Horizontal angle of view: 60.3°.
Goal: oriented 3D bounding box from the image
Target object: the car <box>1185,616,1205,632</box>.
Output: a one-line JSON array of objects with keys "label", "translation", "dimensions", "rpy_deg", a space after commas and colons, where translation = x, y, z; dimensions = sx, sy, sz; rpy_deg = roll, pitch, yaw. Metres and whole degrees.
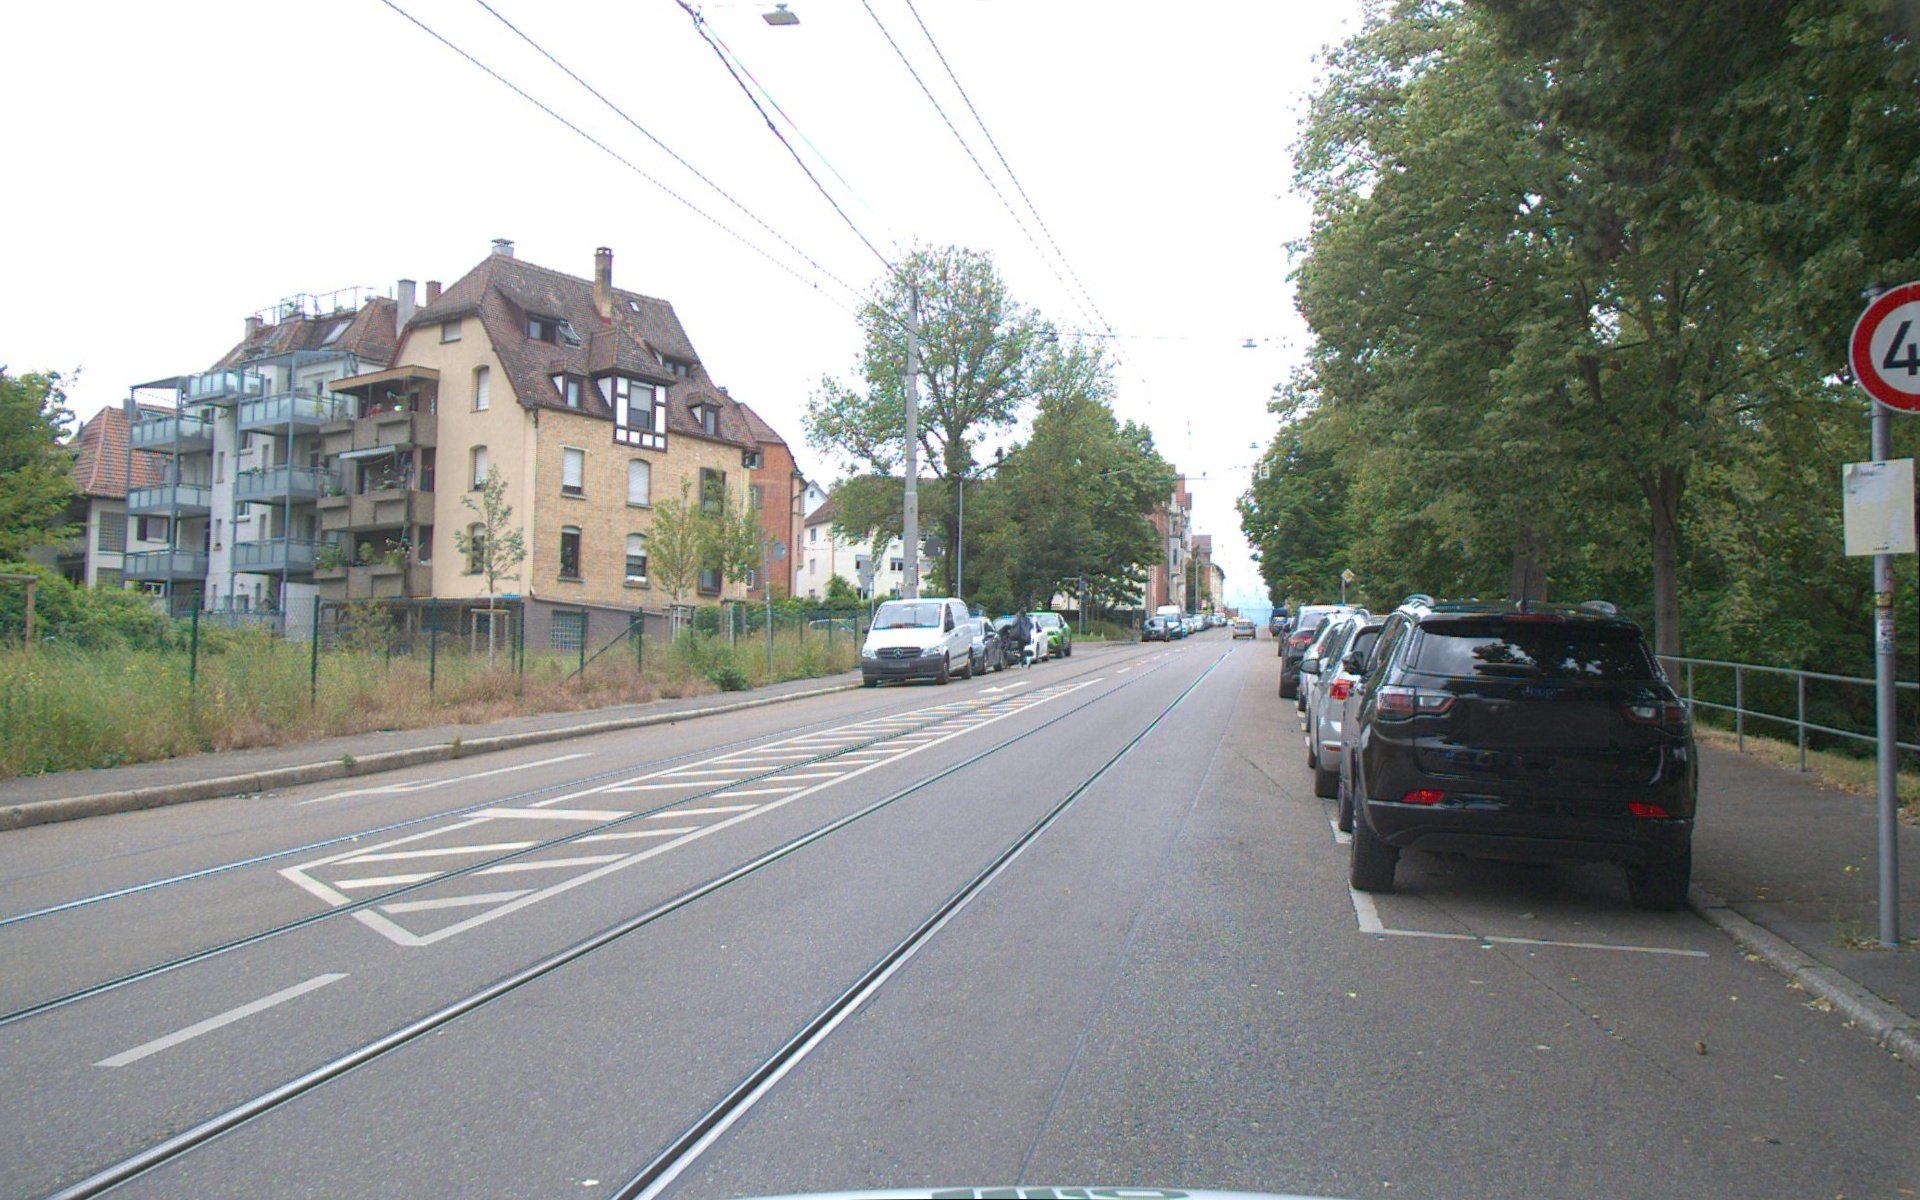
[{"label": "car", "translation": [24.757, 2.492, 173.875], "dimensions": [1.883, 1.629, 4.003], "rpy_deg": [1, -1, 11]}]

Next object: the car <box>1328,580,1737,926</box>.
[{"label": "car", "translation": [3.332, 0.767, 10.493], "dimensions": [1.863, 1.643, 4.603], "rpy_deg": [1, 0, 12]}]

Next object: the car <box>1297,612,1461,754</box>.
[{"label": "car", "translation": [5.210, 0.967, 20.973], "dimensions": [1.595, 1.543, 4.067], "rpy_deg": [3, 0, 9]}]

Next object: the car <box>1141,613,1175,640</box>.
[{"label": "car", "translation": [13.964, 1.848, 116.508], "dimensions": [1.951, 1.840, 4.003], "rpy_deg": [1, -1, 12]}]

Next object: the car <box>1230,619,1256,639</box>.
[{"label": "car", "translation": [22.418, 2.281, 130.813], "dimensions": [1.951, 1.525, 4.315], "rpy_deg": [1, -1, 10]}]

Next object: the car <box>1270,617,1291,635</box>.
[{"label": "car", "translation": [31.713, 2.582, 163.523], "dimensions": [1.951, 1.747, 4.003], "rpy_deg": [0, -2, 11]}]

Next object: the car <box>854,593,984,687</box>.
[{"label": "car", "translation": [-0.843, 0.905, 37.501], "dimensions": [1.992, 1.914, 4.889], "rpy_deg": [-3, -2, 9]}]

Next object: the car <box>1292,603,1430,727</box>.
[{"label": "car", "translation": [6.163, 0.949, 25.777], "dimensions": [1.689, 1.659, 4.091], "rpy_deg": [4, 0, 9]}]

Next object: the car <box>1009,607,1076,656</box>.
[{"label": "car", "translation": [2.869, 1.076, 56.852], "dimensions": [1.686, 1.607, 4.184], "rpy_deg": [-1, -1, 11]}]

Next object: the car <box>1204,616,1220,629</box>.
[{"label": "car", "translation": [32.424, 2.946, 212.683], "dimensions": [1.951, 1.629, 4.003], "rpy_deg": [1, -1, 10]}]

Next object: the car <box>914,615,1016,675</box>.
[{"label": "car", "translation": [0.197, 1.145, 43.213], "dimensions": [1.855, 1.458, 4.515], "rpy_deg": [-1, -1, 11]}]

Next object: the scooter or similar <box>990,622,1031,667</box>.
[{"label": "scooter or similar", "translation": [1.387, 1.236, 45.663], "dimensions": [0.799, 1.217, 0.828], "rpy_deg": [2, -2, -37]}]

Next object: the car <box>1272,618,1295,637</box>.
[{"label": "car", "translation": [28.057, 2.396, 143.359], "dimensions": [1.951, 1.557, 4.315], "rpy_deg": [1, -1, 12]}]

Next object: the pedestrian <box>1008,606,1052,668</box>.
[{"label": "pedestrian", "translation": [1.910, 1.008, 44.989], "dimensions": [0.799, 1.657, 0.904], "rpy_deg": [2, -2, -37]}]

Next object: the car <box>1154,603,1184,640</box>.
[{"label": "car", "translation": [16.578, 1.703, 130.781], "dimensions": [2.183, 2.813, 5.803], "rpy_deg": [1, -1, 9]}]

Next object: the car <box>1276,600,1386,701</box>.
[{"label": "car", "translation": [7.044, 0.914, 31.751], "dimensions": [1.837, 1.707, 5.067], "rpy_deg": [2, 0, 11]}]

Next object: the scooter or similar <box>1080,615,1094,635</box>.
[{"label": "scooter or similar", "translation": [8.651, 1.700, 112.685], "dimensions": [0.676, 1.362, 1.640], "rpy_deg": [0, -1, 12]}]

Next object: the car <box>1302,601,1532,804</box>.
[{"label": "car", "translation": [4.132, 0.850, 15.520], "dimensions": [1.697, 1.603, 4.368], "rpy_deg": [1, -1, 10]}]

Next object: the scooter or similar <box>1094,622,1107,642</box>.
[{"label": "scooter or similar", "translation": [9.562, 2.178, 112.494], "dimensions": [0.676, 1.362, 1.640], "rpy_deg": [0, -1, 12]}]

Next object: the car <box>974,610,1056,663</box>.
[{"label": "car", "translation": [1.767, 1.123, 51.326], "dimensions": [1.844, 1.553, 4.667], "rpy_deg": [-1, -1, 11]}]

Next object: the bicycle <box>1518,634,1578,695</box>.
[{"label": "bicycle", "translation": [9.969, 1.084, 28.087], "dimensions": [0.418, 0.993, 1.795], "rpy_deg": [1, -1, 1]}]

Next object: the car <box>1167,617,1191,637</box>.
[{"label": "car", "translation": [18.639, 2.310, 140.886], "dimensions": [1.951, 1.628, 4.315], "rpy_deg": [1, -1, 9]}]
